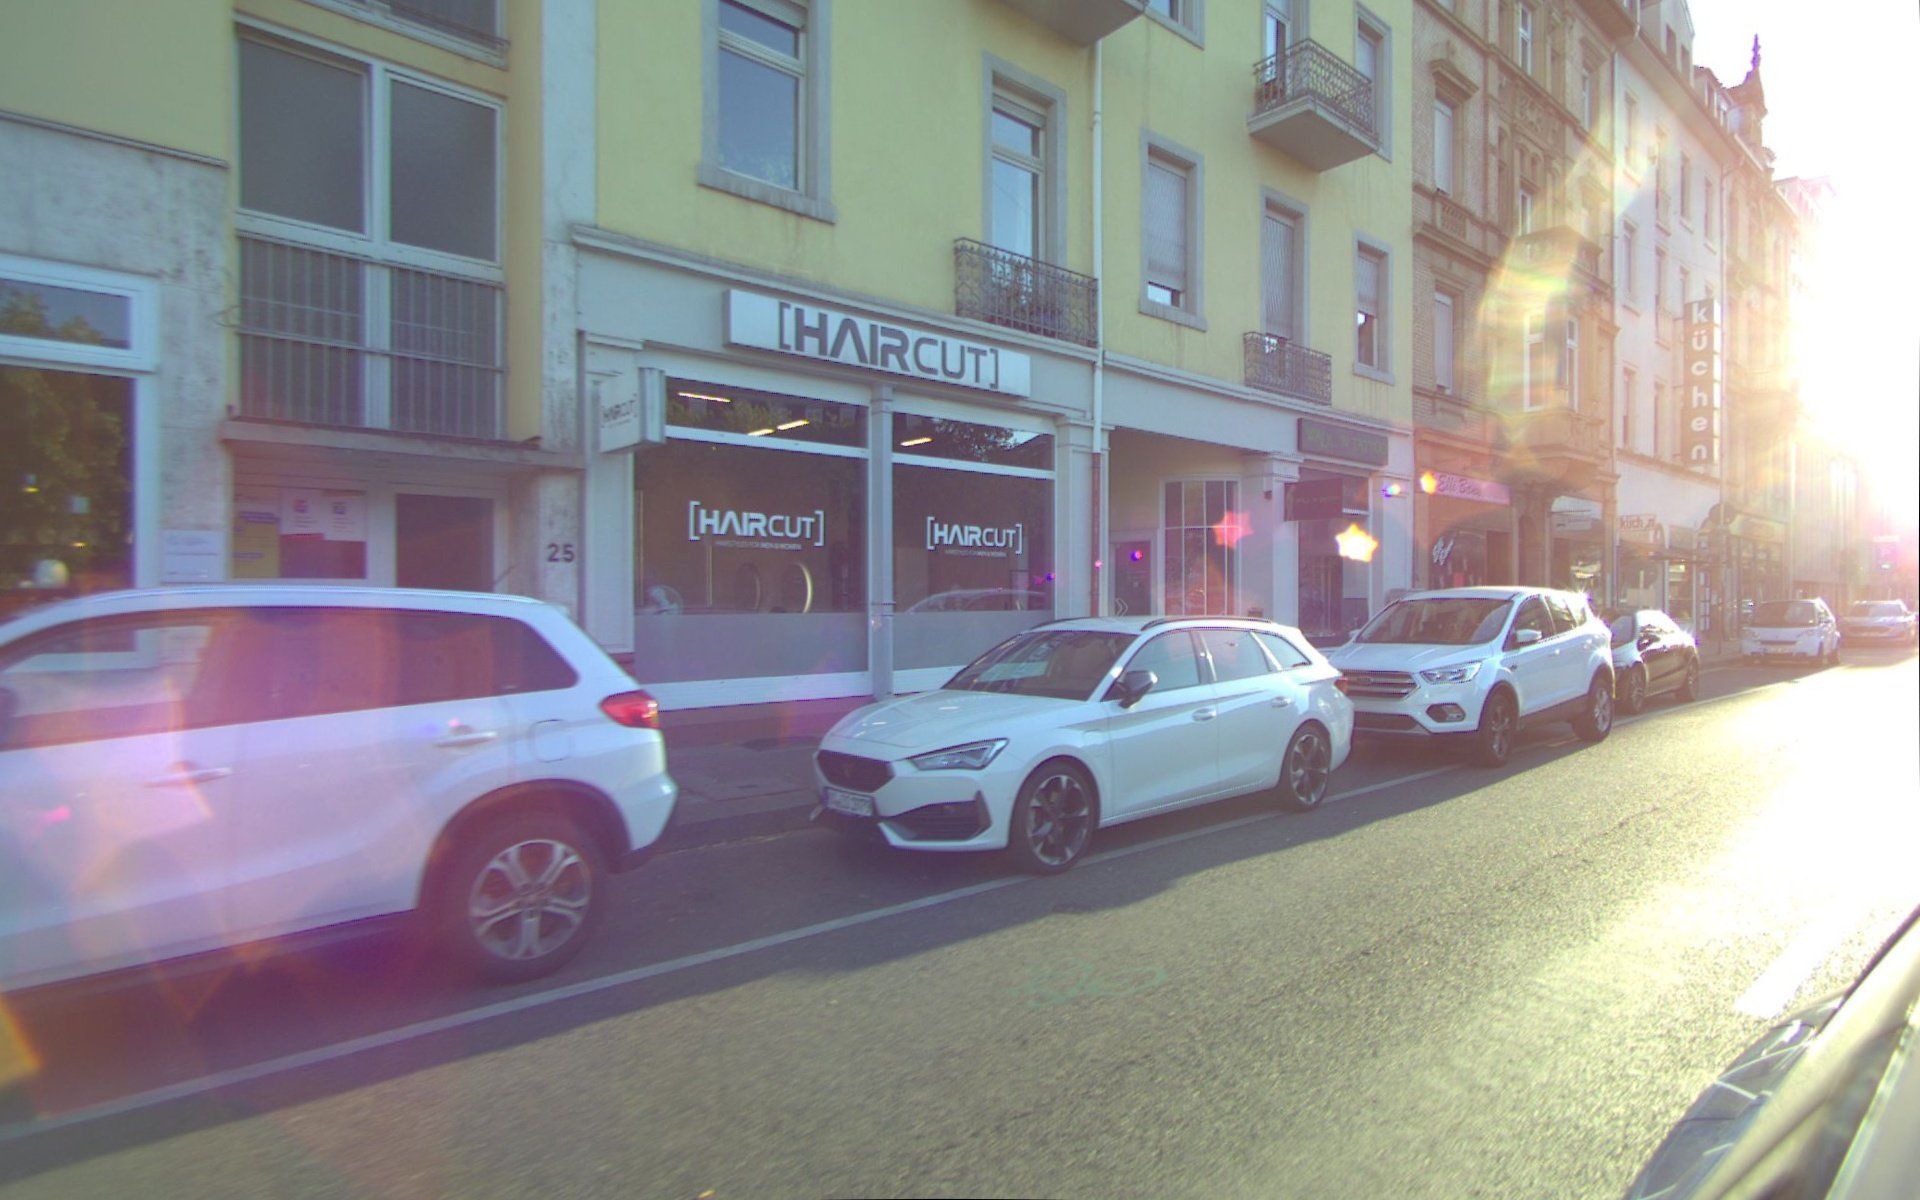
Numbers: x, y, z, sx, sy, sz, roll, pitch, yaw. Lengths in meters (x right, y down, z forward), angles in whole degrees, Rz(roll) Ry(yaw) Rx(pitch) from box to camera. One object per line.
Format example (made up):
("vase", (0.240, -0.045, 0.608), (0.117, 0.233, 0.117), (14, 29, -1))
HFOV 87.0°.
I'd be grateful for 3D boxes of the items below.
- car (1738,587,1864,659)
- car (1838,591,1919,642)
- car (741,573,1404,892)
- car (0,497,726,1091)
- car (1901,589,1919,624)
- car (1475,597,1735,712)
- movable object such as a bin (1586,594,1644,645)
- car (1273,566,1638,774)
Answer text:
("car", (20.479, 0.542, 24.600), (3.928, 1.605, 1.703), (1, -1, -40))
("car", (30.400, 0.530, 33.100), (4.601, 1.555, 1.996), (1, -1, -42))
("car", (1.067, 0.687, 7.295), (4.782, 1.563, 2.019), (1, -1, -40))
("car", (-3.316, 0.584, 3.911), (4.330, 1.785, 1.871), (1, -1, -41))
("car", (43.741, 0.297, 45.252), (3.929, 1.539, 1.998), (0, 1, -40))
("car", (9.833, 0.694, 15.270), (4.764, 1.452, 1.997), (0, 0, -40))
("movable object such as a bin", (16.212, 0.461, 25.043), (1.374, 1.201, 0.868), (0, 0, -41))
("car", (5.445, 0.630, 10.832), (4.577, 1.767, 1.885), (1, -1, -41))
